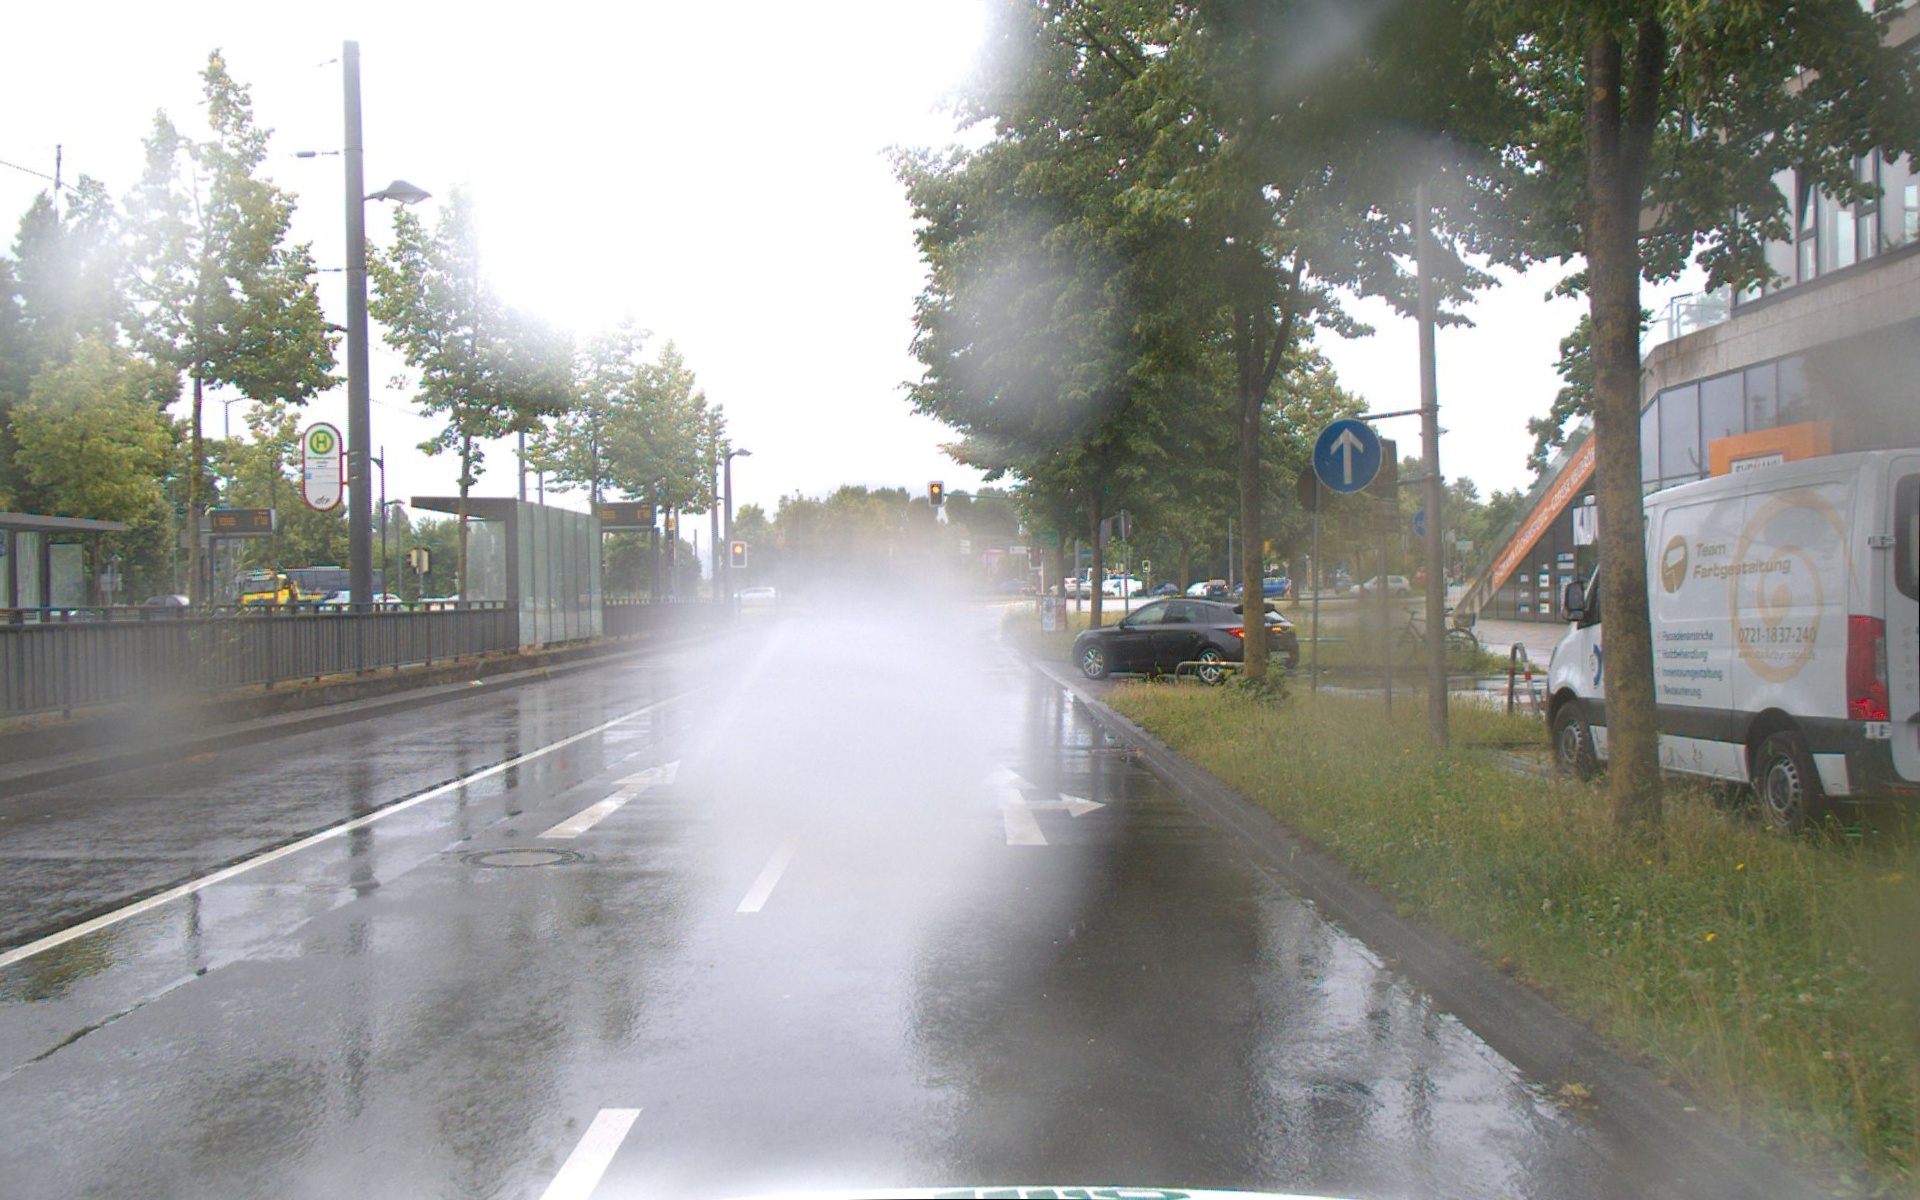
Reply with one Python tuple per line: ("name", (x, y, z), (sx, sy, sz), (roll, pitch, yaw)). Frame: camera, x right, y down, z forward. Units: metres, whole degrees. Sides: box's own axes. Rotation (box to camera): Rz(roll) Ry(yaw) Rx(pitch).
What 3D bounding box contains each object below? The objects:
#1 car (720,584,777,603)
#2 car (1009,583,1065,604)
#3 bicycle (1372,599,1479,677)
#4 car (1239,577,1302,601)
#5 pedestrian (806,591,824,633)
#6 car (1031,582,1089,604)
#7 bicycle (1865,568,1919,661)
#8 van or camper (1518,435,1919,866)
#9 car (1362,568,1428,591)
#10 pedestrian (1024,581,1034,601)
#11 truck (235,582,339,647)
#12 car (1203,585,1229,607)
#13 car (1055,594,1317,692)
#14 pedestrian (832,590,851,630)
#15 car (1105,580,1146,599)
("car", (-17.343, -0.535, 135.709), (4.520, 1.479, 1.621), (-1, 1, -7))
("car", (5.696, -0.500, 122.431), (3.913, 1.479, 1.615), (-1, 1, 40))
("bicycle", (8.445, 0.676, 30.009), (1.806, 1.370, 0.532), (0, 1, 26))
("car", (20.542, -0.722, 109.571), (3.891, 1.479, 1.624), (-1, 1, 3))
("pedestrian", (-5.499, 0.450, 62.701), (0.608, 1.549, 0.741), (1, 0, -1))
("car", (7.074, -0.515, 117.379), (4.040, 1.479, 1.614), (-1, 1, 42))
("bicycle", (15.166, 0.224, 25.849), (0.718, 1.427, 2.425), (1, 1, 1))
("van or camper", (5.912, 0.262, 11.706), (1.984, 2.332, 5.459), (-1, 0, -1))
("car", (28.628, -1.347, 108.970), (3.893, 1.479, 1.623), (-1, 1, 0))
("pedestrian", (4.649, -0.623, 111.678), (0.445, 1.327, 0.483), (-1, 0, 39))
("truck", (-41.864, 0.883, 103.186), (2.632, 3.844, 9.182), (1, 0, 0))
("car", (18.983, -0.308, 122.597), (1.583, 1.479, 3.991), (-1, 1, 13))
("car", (3.764, 0.664, 28.157), (1.817, 1.444, 4.279), (-3, 2, -42))
("pedestrian", (-4.558, 0.385, 63.726), (0.666, 1.486, 0.573), (-2, 0, -4))
("car", (15.522, -0.981, 154.984), (1.770, 1.691, 4.110), (1, 0, 41))
